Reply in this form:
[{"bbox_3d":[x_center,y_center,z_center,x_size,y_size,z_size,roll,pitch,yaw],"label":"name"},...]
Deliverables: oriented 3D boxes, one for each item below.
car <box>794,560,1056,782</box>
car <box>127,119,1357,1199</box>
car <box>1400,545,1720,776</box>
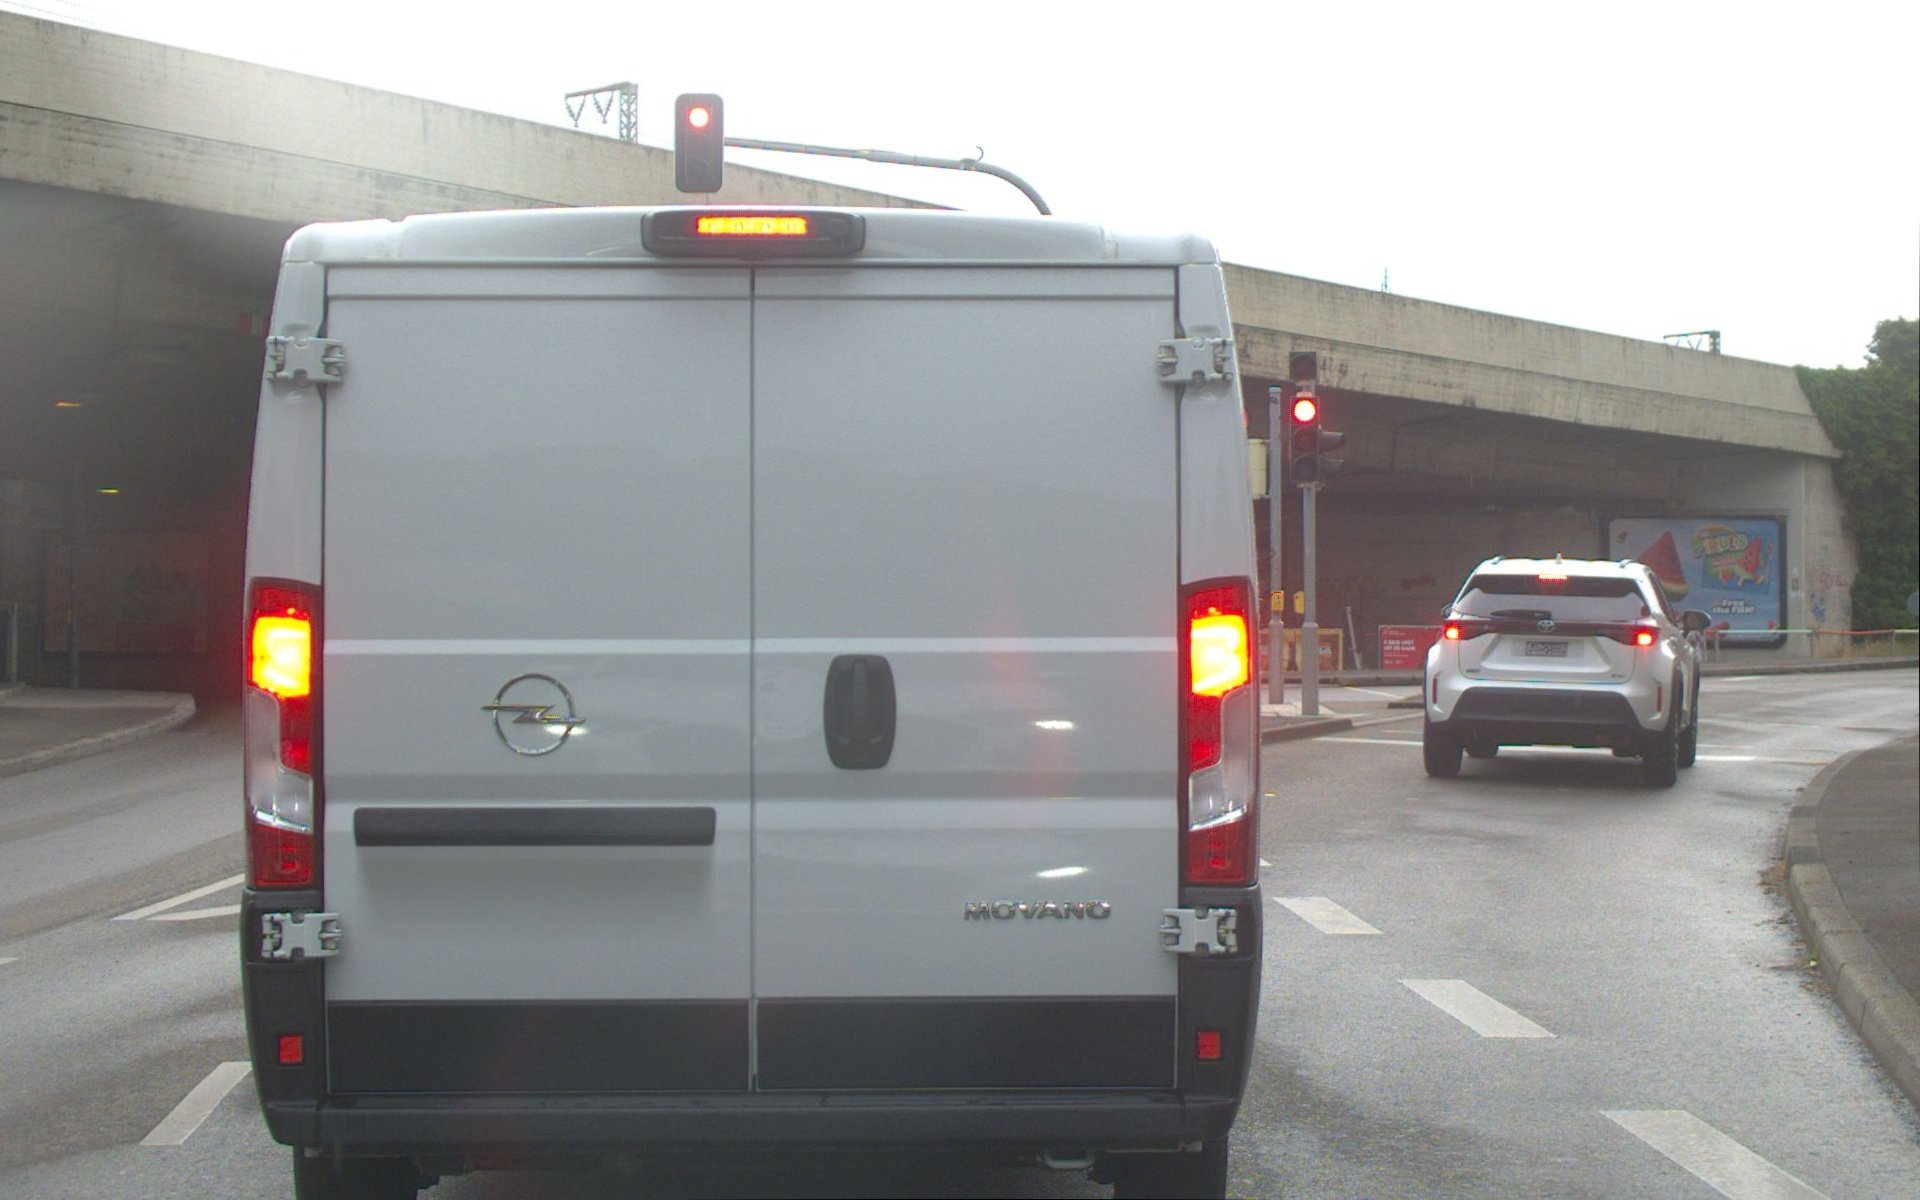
[{"bbox_3d":[-0.219,0.579,28.871,1.994,1.723,3.999,0,-1,2],"label":"car"},{"bbox_3d":[-0.511,0.226,9.163,2.305,2.335,5.283,-1,1,-2],"label":"car"},{"bbox_3d":[4.480,0.401,25.225,1.995,1.544,3.997,0,0,15],"label":"car"}]
